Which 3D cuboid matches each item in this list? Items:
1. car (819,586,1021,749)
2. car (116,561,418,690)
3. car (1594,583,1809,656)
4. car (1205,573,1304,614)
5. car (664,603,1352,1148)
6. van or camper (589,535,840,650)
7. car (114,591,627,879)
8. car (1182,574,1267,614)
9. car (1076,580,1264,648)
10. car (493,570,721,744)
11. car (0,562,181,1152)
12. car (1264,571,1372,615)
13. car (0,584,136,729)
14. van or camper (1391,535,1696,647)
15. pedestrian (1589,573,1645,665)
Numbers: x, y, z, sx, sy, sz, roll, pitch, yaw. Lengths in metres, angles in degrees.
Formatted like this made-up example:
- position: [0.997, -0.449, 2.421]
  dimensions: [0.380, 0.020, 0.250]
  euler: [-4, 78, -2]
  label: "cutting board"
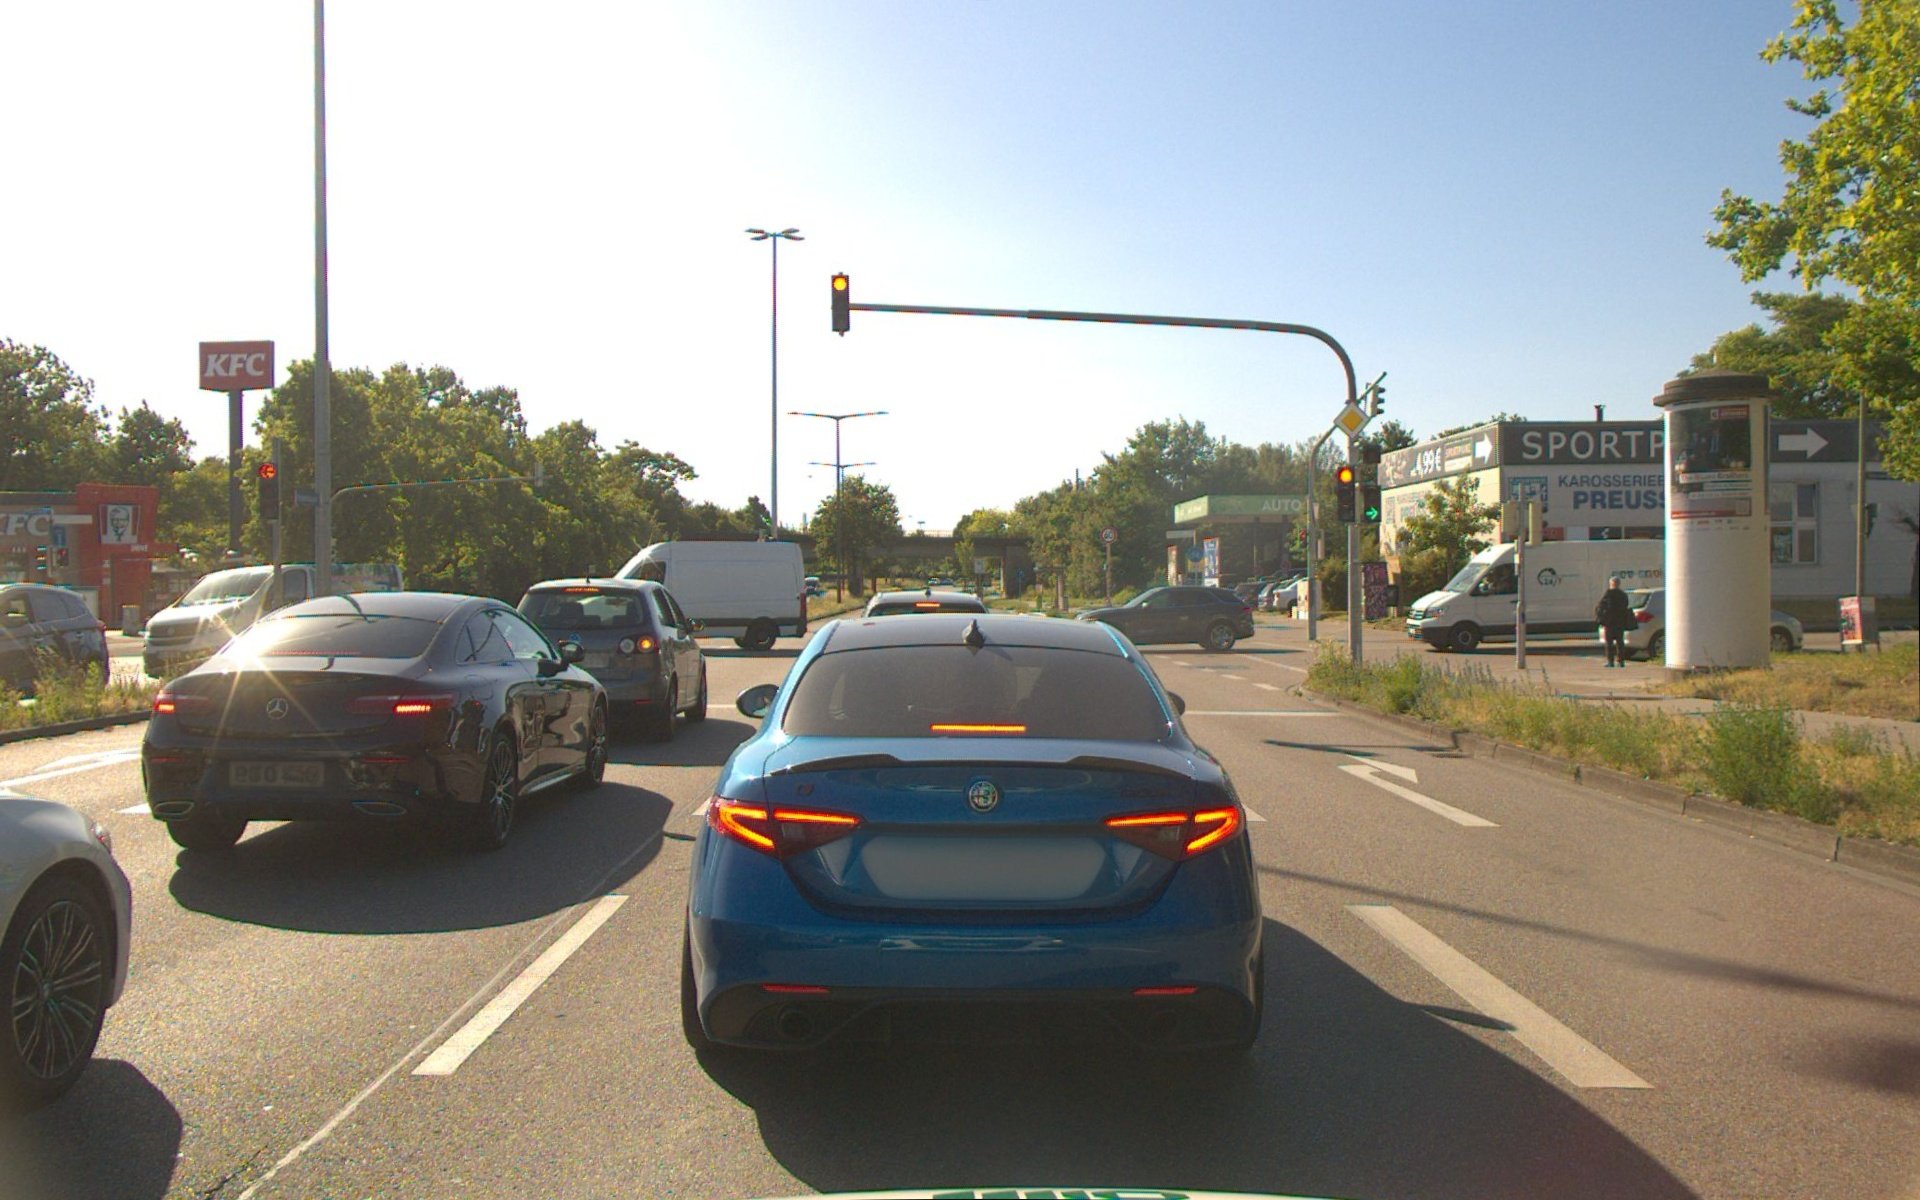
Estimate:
- position: [-0.390, 0.604, 17.042]
  dimensions: [1.828, 1.475, 3.931]
  euler: [0, 0, -1]
  label: "car"
- position: [-11.952, 0.385, 28.962]
  dimensions: [1.952, 2.049, 5.027]
  euler: [0, 0, 21]
  label: "car"
- position: [15.777, 0.412, 35.258]
  dimensions: [3.905, 1.503, 1.737]
  euler: [0, 0, -10]
  label: "car"
- position: [12.674, -0.273, 71.140]
  dimensions: [3.928, 1.736, 1.686]
  euler: [0, 0, -20]
  label: "car"
- position: [0.105, 0.743, 6.378]
  dimensions: [1.828, 1.409, 3.931]
  euler: [0, 0, -1]
  label: "car"
- position: [-6.019, -0.199, 40.652]
  dimensions: [5.851, 2.697, 1.988]
  euler: [0, 0, -21]
  label: "van or camper"
- position: [-3.412, 0.665, 10.557]
  dimensions: [1.732, 1.439, 4.460]
  euler: [0, 0, -1]
  label: "car"
- position: [11.878, -0.268, 74.319]
  dimensions: [3.428, 1.736, 1.688]
  euler: [0, 0, -16]
  label: "car"
- position: [5.313, 0.346, 42.238]
  dimensions: [4.506, 1.682, 1.999]
  euler: [0, 0, -2]
  label: "car"
- position: [-3.593, 0.519, 17.457]
  dimensions: [1.615, 1.626, 3.931]
  euler: [0, 0, -1]
  label: "car"
- position: [-3.346, 0.679, 3.084]
  dimensions: [1.732, 1.535, 4.460]
  euler: [0, 0, -1]
  label: "car"
- position: [14.346, -0.284, 66.310]
  dimensions: [3.923, 1.736, 1.687]
  euler: [0, 0, -17]
  label: "car"
- position: [-12.267, 0.663, 20.401]
  dimensions: [1.840, 1.719, 4.438]
  euler: [0, 0, 2]
  label: "car"
- position: [13.940, -0.223, 39.796]
  dimensions: [6.595, 2.617, 2.184]
  euler: [0, 0, -2]
  label: "van or camper"
- position: [12.656, 0.353, 31.889]
  dimensions: [0.805, 1.752, 0.854]
  euler: [0, 0, 6]
  label: "pedestrian"
